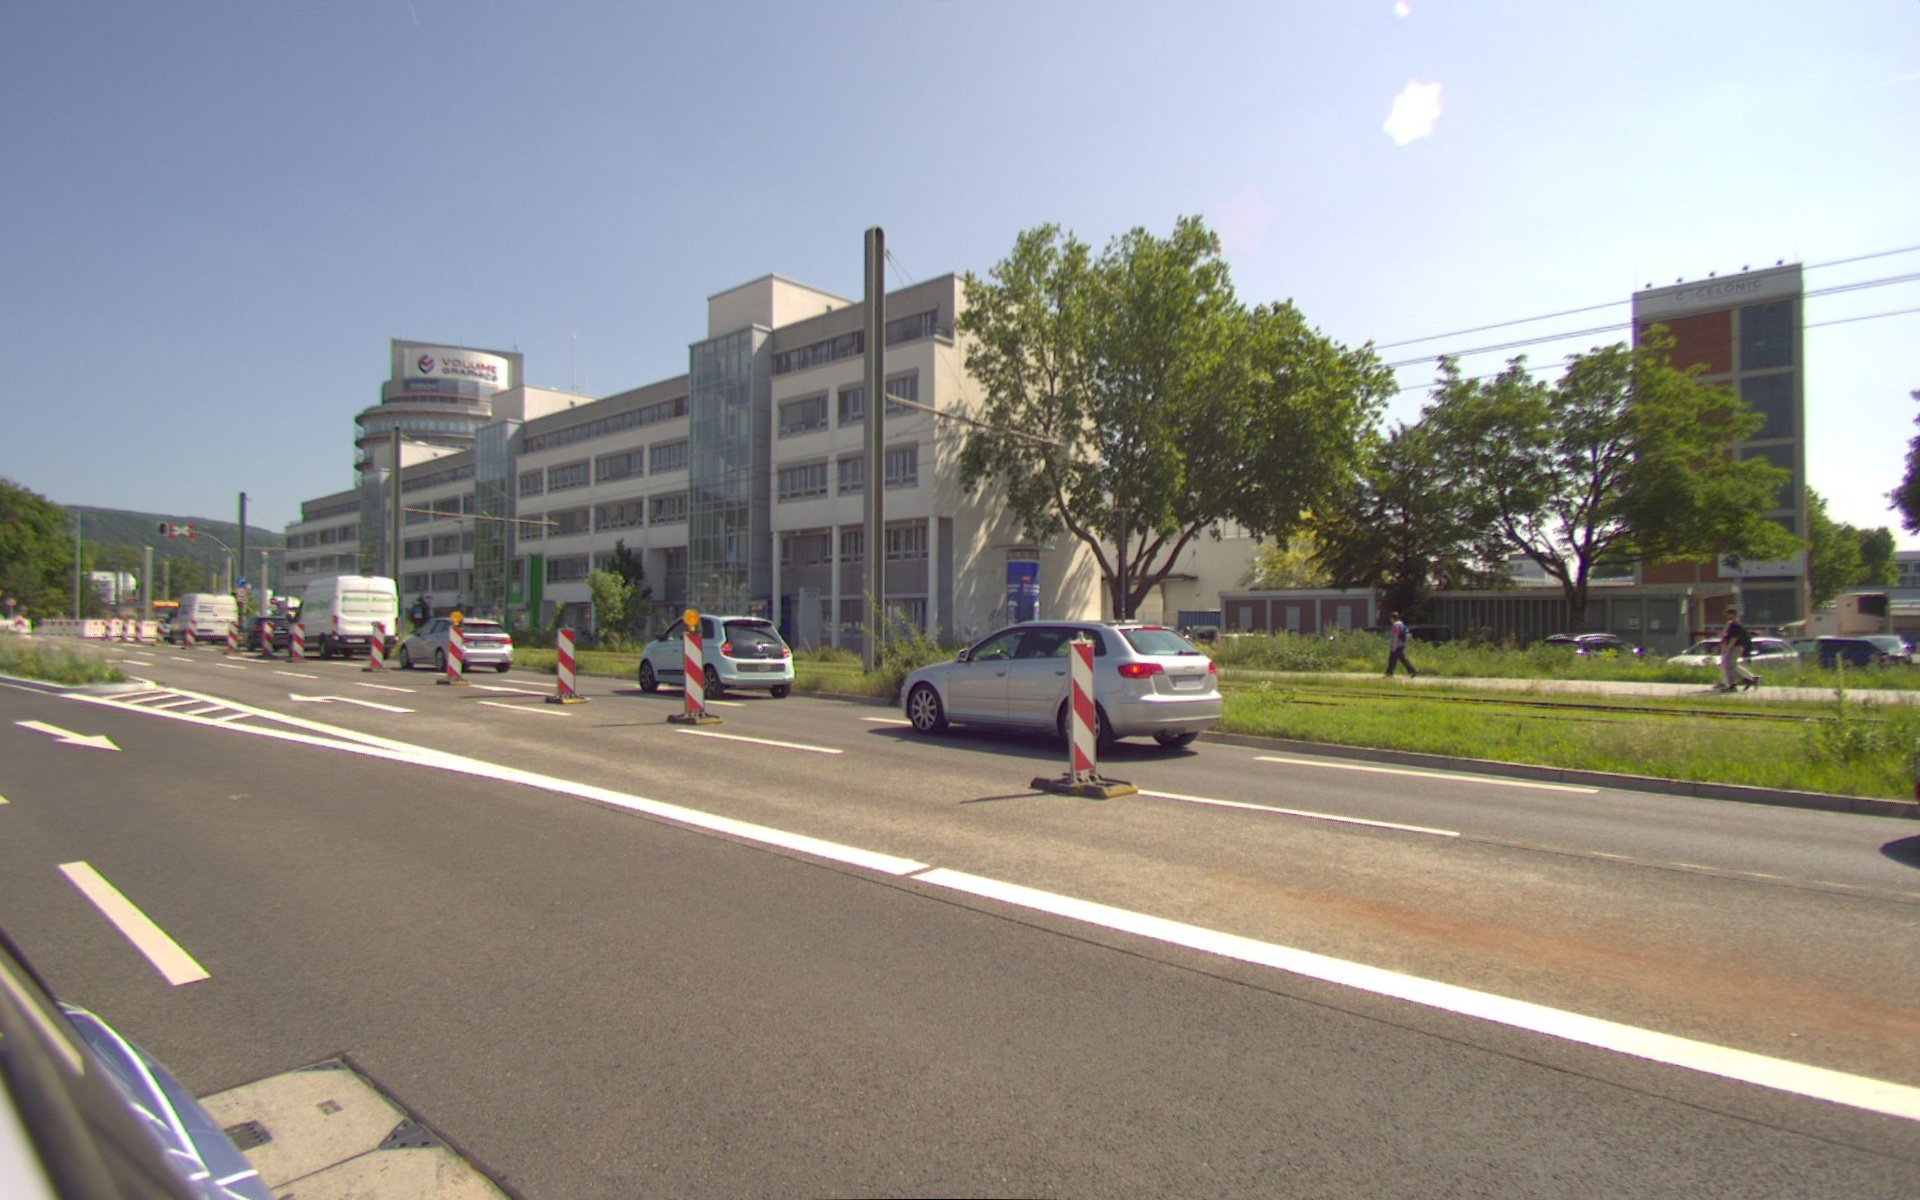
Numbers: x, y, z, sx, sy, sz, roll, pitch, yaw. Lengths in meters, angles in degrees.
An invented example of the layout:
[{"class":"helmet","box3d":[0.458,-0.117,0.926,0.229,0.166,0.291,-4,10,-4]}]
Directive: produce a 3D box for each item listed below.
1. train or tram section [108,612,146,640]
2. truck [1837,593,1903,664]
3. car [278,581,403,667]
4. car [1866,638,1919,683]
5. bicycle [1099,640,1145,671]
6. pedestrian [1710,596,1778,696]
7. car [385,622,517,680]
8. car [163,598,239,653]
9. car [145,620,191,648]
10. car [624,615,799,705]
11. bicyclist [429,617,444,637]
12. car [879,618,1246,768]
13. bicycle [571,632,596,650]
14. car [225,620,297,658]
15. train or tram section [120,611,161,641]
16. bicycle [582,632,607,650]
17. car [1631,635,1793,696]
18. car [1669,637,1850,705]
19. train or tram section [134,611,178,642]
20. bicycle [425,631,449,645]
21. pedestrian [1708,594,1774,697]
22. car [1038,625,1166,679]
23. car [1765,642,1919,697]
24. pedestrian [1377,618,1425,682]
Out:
[{"class":"train or tram section","box3d":[-109.818,3.372,133.390,11.785,3.477,2.595,-1,-1,44]},{"class":"truck","box3d":[58.903,1.714,65.686,2.888,4.113,12.470,-2,0,41]},{"class":"car","box3d":[-21.598,0.849,35.181,5.986,2.761,2.054,-1,-4,43]},{"class":"car","box3d":[33.202,2.064,34.503,3.344,1.464,1.521,-2,0,41]},{"class":"bicycle","box3d":[5.391,1.847,33.706,0.455,0.993,1.558,1,-2,-44]},{"class":"pedestrian","box3d":[16.547,0.953,21.363,0.829,2.029,0.984,0,-2,-45]},{"class":"car","box3d":[-14.002,1.359,27.732,4.466,1.454,1.656,-1,-3,41]},{"class":"car","box3d":[-38.796,1.333,51.665,6.196,2.598,2.008,-2,-5,44]},{"class":"car","box3d":[-46.407,1.986,59.270,3.980,1.553,1.562,-2,-5,45]},{"class":"car","box3d":[-4.792,1.098,19.270,1.562,1.542,3.623,5,-4,-45]},{"class":"bicyclist","box3d":[-40.533,2.086,78.373,1.077,1.551,0.746,-1,-1,44]},{"class":"car","box3d":[1.010,0.942,11.778,1.561,1.427,4.300,2,-3,-43]},{"class":"bicycle","box3d":[-27.227,2.948,73.167,1.627,1.198,0.522,-1,-1,-42]},{"class":"car","box3d":[-28.780,1.605,41.618,4.192,1.468,1.528,-1,-4,43]},{"class":"train or tram section","box3d":[-101.432,3.187,125.148,11.785,3.477,2.595,-1,-1,44]},{"class":"bicycle","box3d":[-26.092,2.916,72.283,1.627,1.198,0.439,-1,-1,-42]},{"class":"car","box3d":[21.716,1.849,29.336,3.632,1.603,1.751,-2,0,38]},{"class":"car","box3d":[21.052,1.812,26.805,3.632,1.603,1.751,-2,0,38]},{"class":"train or tram section","box3d":[-92.947,3.028,116.888,11.785,3.477,2.595,-1,-1,44]},{"class":"bicycle","box3d":[-40.493,2.960,78.322,2.831,1.025,0.746,0,-1,44]},{"class":"pedestrian","box3d":[15.892,0.902,20.604,0.910,2.029,0.972,-2,-1,45]},{"class":"car","box3d":[6.041,2.152,43.107,4.988,2.196,2.120,0,-1,-21]},{"class":"car","box3d":[28.625,2.219,33.017,3.632,1.603,1.751,-2,0,38]},{"class":"pedestrian","box3d":[11.276,1.263,25.881,0.805,1.588,0.827,-1,0,-42]}]
